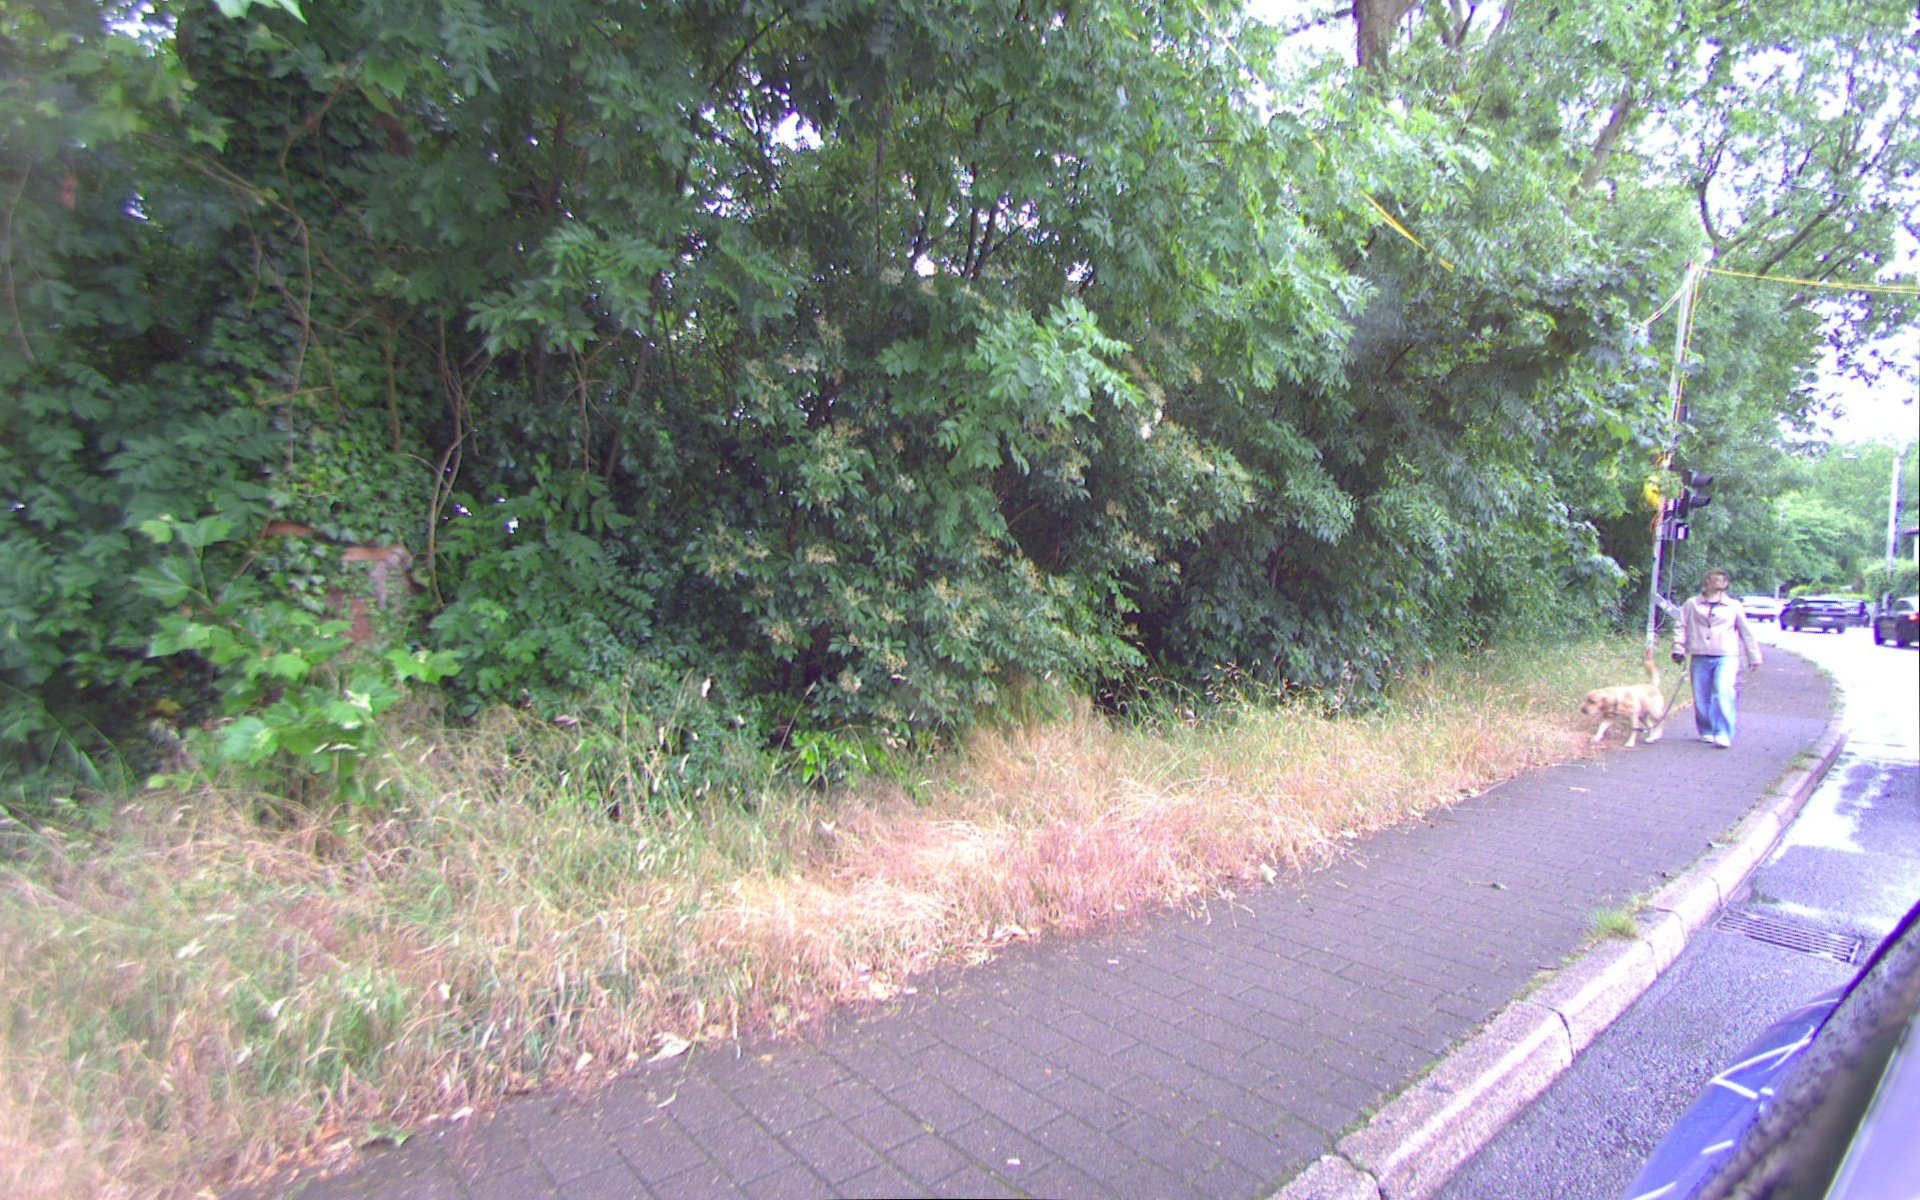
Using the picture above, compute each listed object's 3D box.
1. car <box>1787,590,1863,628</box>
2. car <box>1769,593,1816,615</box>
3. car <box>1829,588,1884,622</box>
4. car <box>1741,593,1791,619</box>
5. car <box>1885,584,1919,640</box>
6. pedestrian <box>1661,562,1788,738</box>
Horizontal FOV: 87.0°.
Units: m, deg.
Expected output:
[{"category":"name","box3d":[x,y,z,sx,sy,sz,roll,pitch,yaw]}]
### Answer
[{"category":"car","box3d":[39.390,0.374,46.181,1.857,1.642,4.120,0,0,30]},{"category":"car","box3d":[60.761,0.270,73.931,2.055,1.504,4.509,1,1,33]},{"category":"car","box3d":[51.072,0.261,57.719,1.869,1.848,4.075,1,1,35]},{"category":"car","box3d":[49.797,0.336,62.609,1.845,1.547,4.764,0,0,32]},{"category":"car","box3d":[31.461,0.367,32.473,1.987,1.695,4.629,0,0,35]},{"category":"pedestrian","box3d":[7.082,0.429,9.375,0.771,1.517,0.734,0,3,-42]}]
